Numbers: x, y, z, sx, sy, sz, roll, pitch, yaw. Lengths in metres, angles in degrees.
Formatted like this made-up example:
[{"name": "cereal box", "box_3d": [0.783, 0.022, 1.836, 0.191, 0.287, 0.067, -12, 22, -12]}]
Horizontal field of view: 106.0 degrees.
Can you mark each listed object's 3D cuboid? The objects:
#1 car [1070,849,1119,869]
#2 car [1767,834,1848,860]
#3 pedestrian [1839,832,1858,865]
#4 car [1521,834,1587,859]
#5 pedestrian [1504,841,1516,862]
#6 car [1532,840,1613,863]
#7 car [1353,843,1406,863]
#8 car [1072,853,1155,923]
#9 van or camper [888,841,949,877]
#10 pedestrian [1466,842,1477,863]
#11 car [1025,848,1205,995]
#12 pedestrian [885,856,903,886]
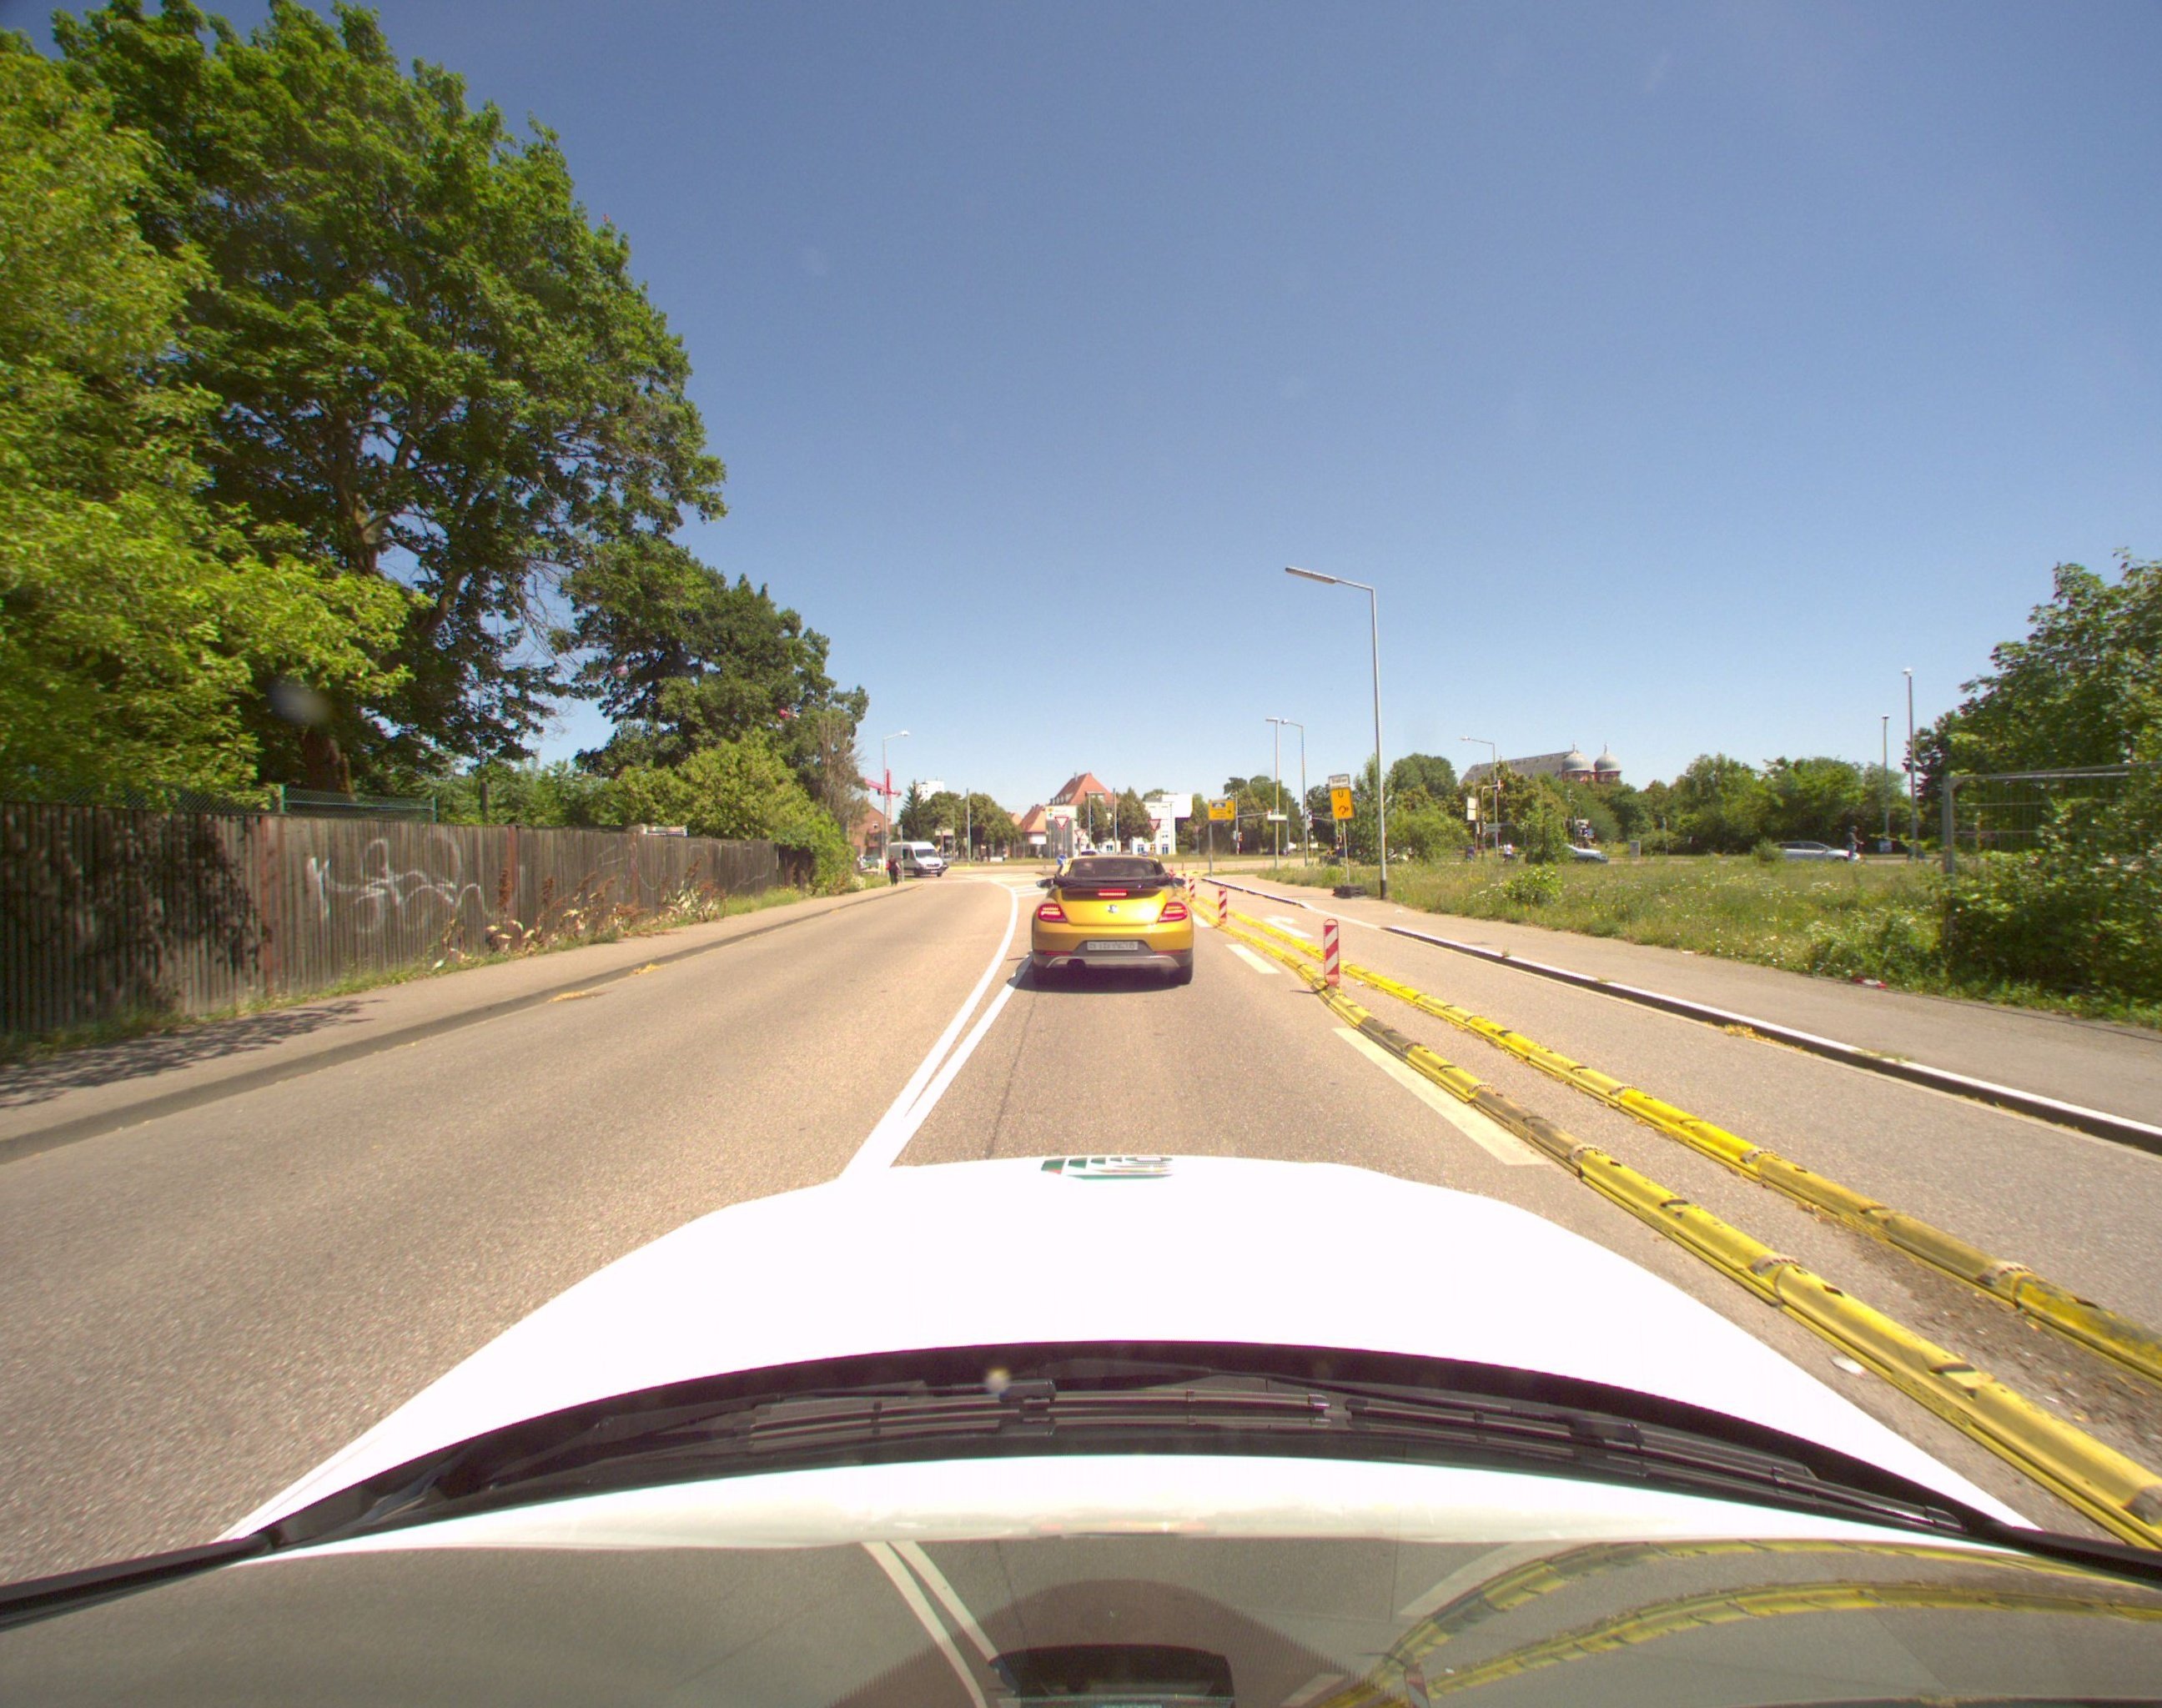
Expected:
[{"name": "car", "box_3d": [1.140, 0.394, 66.584, 3.671, 1.571, 1.688, -2, 0, 12]}, {"name": "car", "box_3d": [40.477, -0.395, 45.445, 3.285, 1.358, 1.406, -1, 0, 42]}, {"name": "pedestrian", "box_3d": [36.594, -0.255, 38.834, 0.561, 1.531, 0.532, -2, 0, 37]}, {"name": "car", "box_3d": [36.020, -0.543, 62.068, 4.048, 1.744, 1.571, -2, 0, 9]}, {"name": "pedestrian", "box_3d": [26.732, -0.172, 50.742, 0.539, 1.311, 0.608, -2, 0, 33]}, {"name": "car", "box_3d": [31.699, -0.170, 52.599, 4.397, 1.358, 1.547, -1, 0, 33]}, {"name": "car", "box_3d": [21.085, -0.069, 57.510, 3.407, 1.275, 1.209, -1, 0, 22]}, {"name": "car", "box_3d": [0.746, 0.711, 19.091, 1.720, 1.443, 4.002, -1, 0, 2]}, {"name": "van or camper", "box_3d": [-12.265, 0.382, 60.948, 2.087, 2.577, 6.611, -1, 0, -34]}, {"name": "pedestrian", "box_3d": [25.164, -0.109, 52.480, 0.597, 1.311, 0.549, -2, 0, 22]}, {"name": "car", "box_3d": [0.352, 0.675, 10.138, 1.784, 1.436, 3.813, -1, 0, 0]}, {"name": "pedestrian", "box_3d": [-9.328, 0.826, 40.643, 0.721, 1.454, 0.817, -1, 0, -3]}]
